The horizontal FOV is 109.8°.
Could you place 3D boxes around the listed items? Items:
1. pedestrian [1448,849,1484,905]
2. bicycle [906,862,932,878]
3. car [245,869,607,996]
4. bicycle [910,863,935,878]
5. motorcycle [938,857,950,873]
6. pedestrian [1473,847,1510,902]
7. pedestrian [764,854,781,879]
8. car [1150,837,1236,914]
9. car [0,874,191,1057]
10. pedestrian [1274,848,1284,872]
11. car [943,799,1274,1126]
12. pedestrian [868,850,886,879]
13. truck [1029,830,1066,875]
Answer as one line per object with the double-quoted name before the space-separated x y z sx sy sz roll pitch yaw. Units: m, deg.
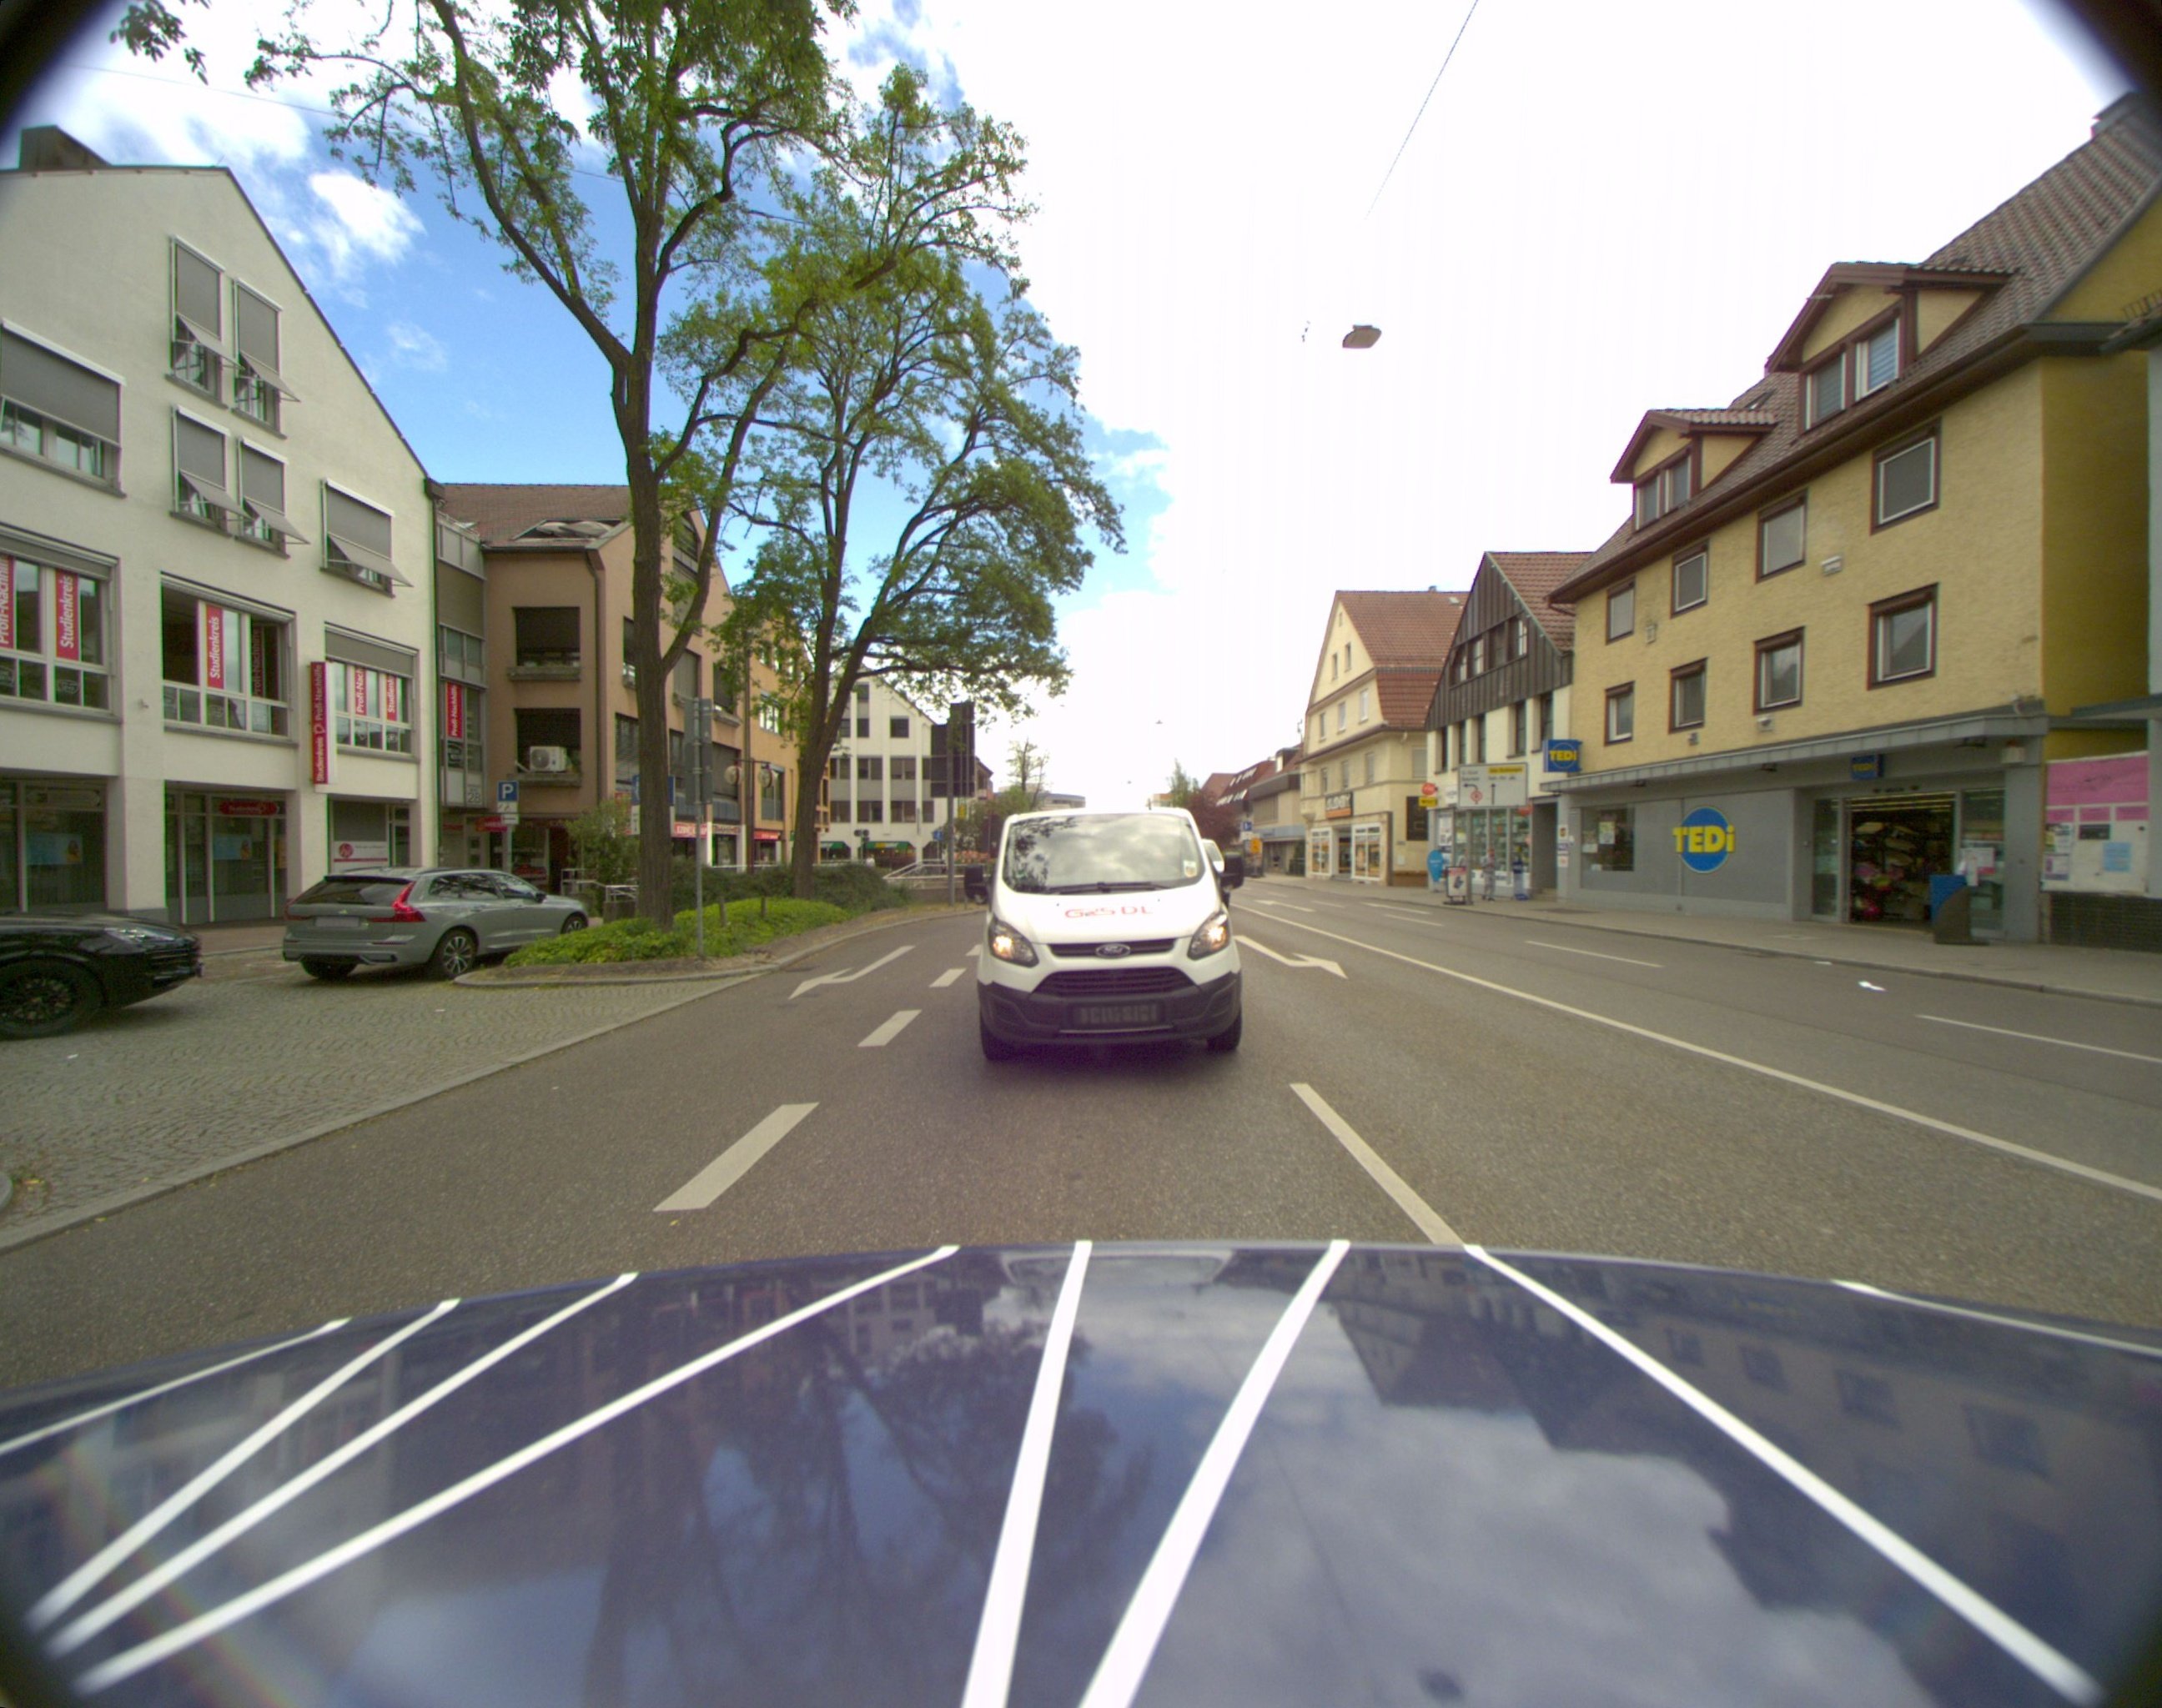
"pedestrian" 11.905 0.691 23.495 0.689 1.680 0.742 -2 1 0
"bicycle" -10.481 1.012 49.092 1.594 0.996 0.414 -1 1 -13
"car" -10.296 1.103 12.613 1.999 1.586 4.762 0 0 -2
"bicycle" -10.421 1.054 49.876 1.594 0.963 0.461 -1 1 -14
"motorcycle" -9.821 0.789 54.463 0.464 1.062 1.995 -1 0 0
"pedestrian" 12.704 0.631 23.539 0.689 1.660 0.709 -3 1 0
"pedestrian" -21.752 0.883 53.586 0.887 1.747 0.943 -1 1 -11
"car" 3.096 0.560 21.925 1.830 1.948 4.852 -1 0 1
"car" -11.743 1.068 6.888 1.853 1.660 4.673 1 0 44
"pedestrian" 16.147 0.476 61.843 0.551 1.878 0.592 -2 1 -4
"car" 0.179 0.659 7.237 1.964 1.948 5.164 -2 0 0
"pedestrian" -12.948 0.653 48.172 0.871 1.812 0.785 -2 1 -4
"truck" -2.685 -0.170 63.577 2.446 3.464 8.346 -2 1 1
